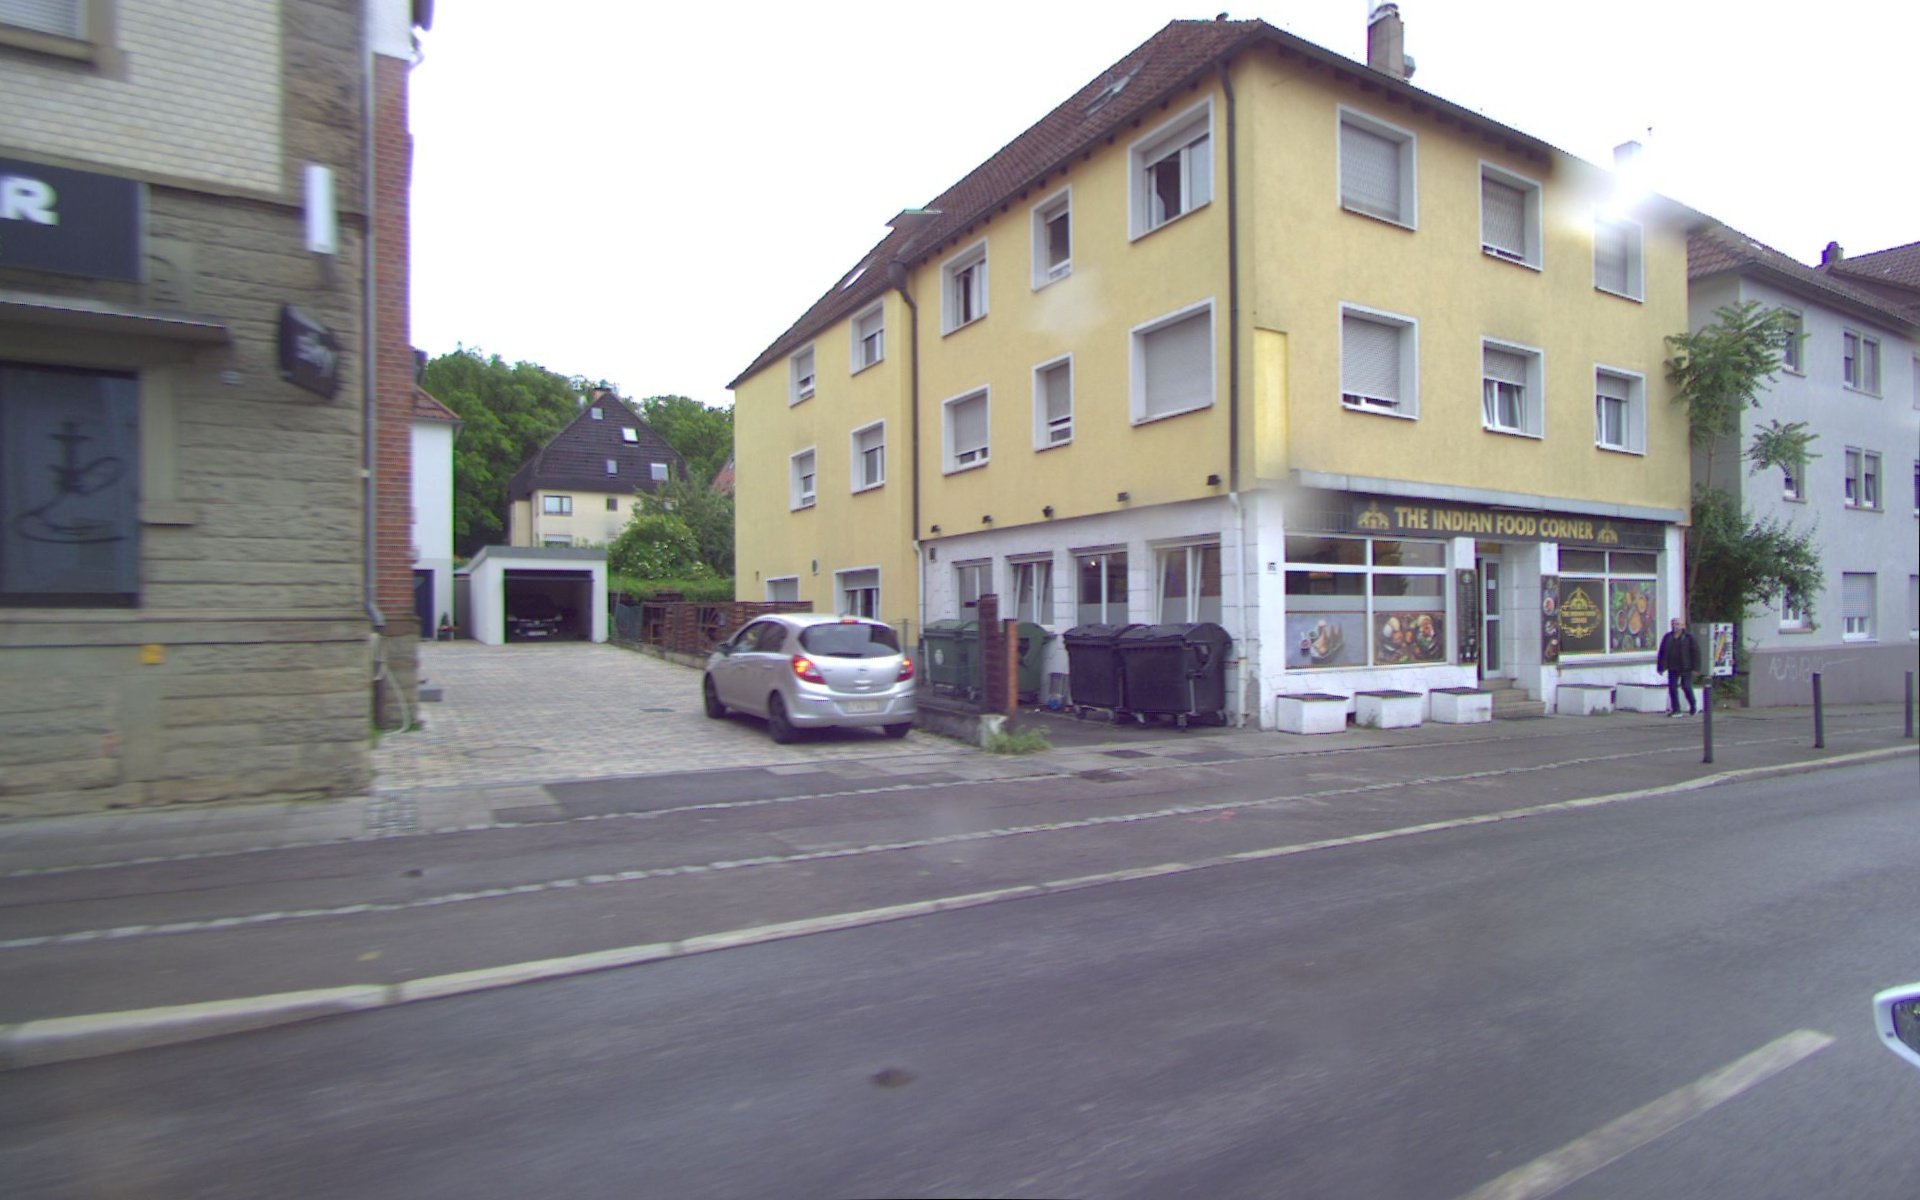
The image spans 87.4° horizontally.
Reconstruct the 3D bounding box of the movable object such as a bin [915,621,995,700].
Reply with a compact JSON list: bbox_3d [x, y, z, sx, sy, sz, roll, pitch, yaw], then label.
[{"bbox_3d":[-0.105,1.112,19.035,1.048,1.421,1.204,1,-1,-30],"label":"movable object such as a bin"}]

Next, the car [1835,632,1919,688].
[{"bbox_3d":[33.259,2.134,34.659,1.976,1.727,4.162,2,2,-30],"label":"car"}]

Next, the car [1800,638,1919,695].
[{"bbox_3d":[28.971,2.083,31.176,1.977,1.472,3.967,2,2,-30],"label":"car"}]

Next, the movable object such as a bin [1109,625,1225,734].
[{"bbox_3d":[2.886,1.073,14.076,0.972,1.421,1.295,1,-1,-30],"label":"movable object such as a bin"}]

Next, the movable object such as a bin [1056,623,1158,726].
[{"bbox_3d":[2.216,1.091,15.207,0.972,1.459,1.240,1,-1,-31],"label":"movable object such as a bin"}]

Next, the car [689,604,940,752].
[{"bbox_3d":[-1.977,0.858,12.785,1.925,1.506,3.546,1,1,-31],"label":"car"}]

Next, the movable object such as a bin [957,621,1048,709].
[{"bbox_3d":[0.728,1.118,17.733,1.036,1.459,1.359,1,-1,-30],"label":"movable object such as a bin"}]

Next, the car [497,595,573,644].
[{"bbox_3d":[-13.118,0.554,30.854,1.797,1.391,3.970,1,0,-28],"label":"car"}]

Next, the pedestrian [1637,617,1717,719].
[{"bbox_3d":[12.546,1.178,17.586,0.982,1.701,0.810,2,-1,-33],"label":"pedestrian"}]
